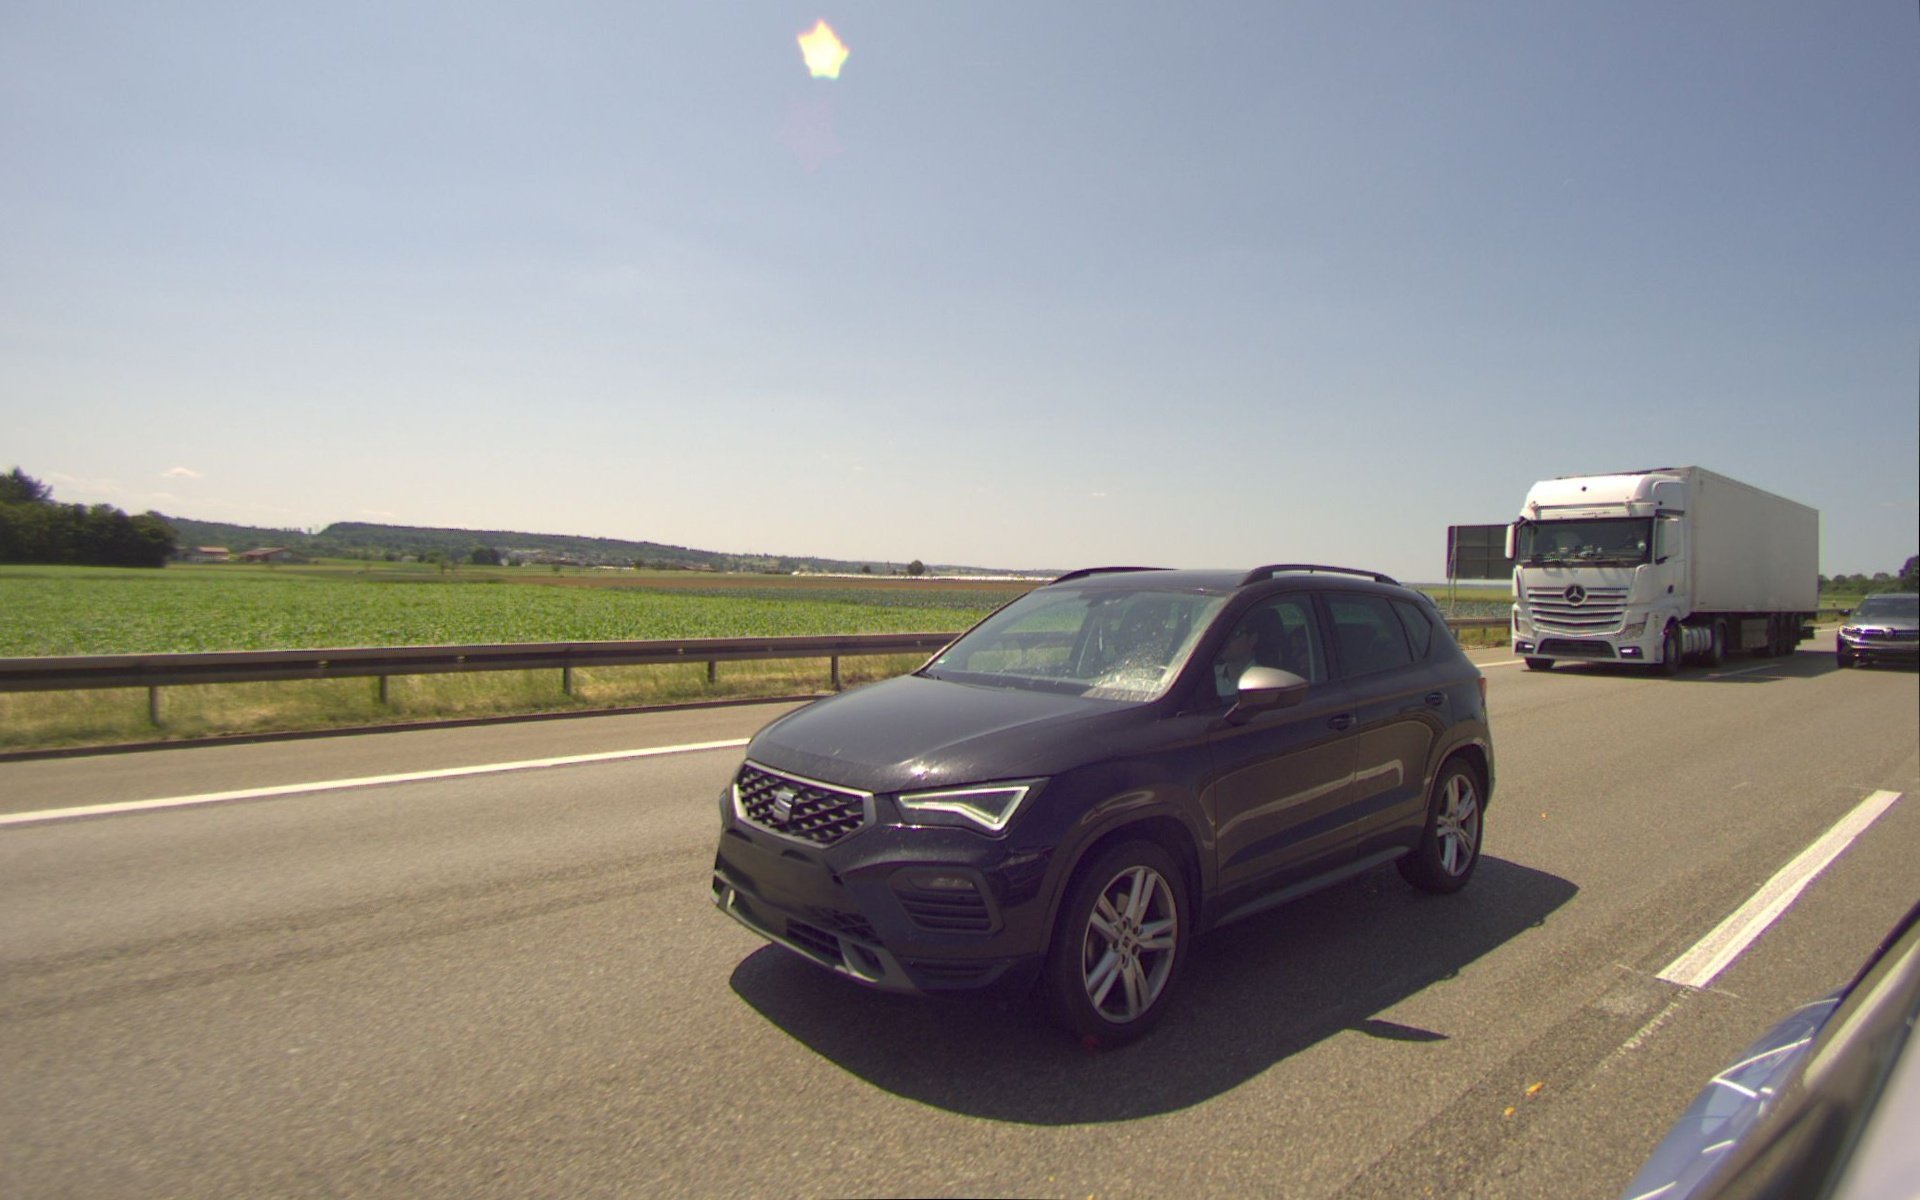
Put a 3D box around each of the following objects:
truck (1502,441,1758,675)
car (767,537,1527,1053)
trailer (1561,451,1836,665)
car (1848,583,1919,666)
[{"bbox_3d":[14.194,-0.777,21.228,6.761,4.143,2.866,0,0,-42],"label":"truck"},{"bbox_3d":[1.141,0.579,5.036,3.757,1.582,1.799,-1,0,-41],"label":"car"},{"bbox_3d":[19.116,-0.890,25.603,13.064,4.273,2.872,-1,0,-41],"label":"trailer"},{"bbox_3d":[20.919,0.506,22.049,4.565,1.669,1.854,0,0,-42],"label":"car"}]
